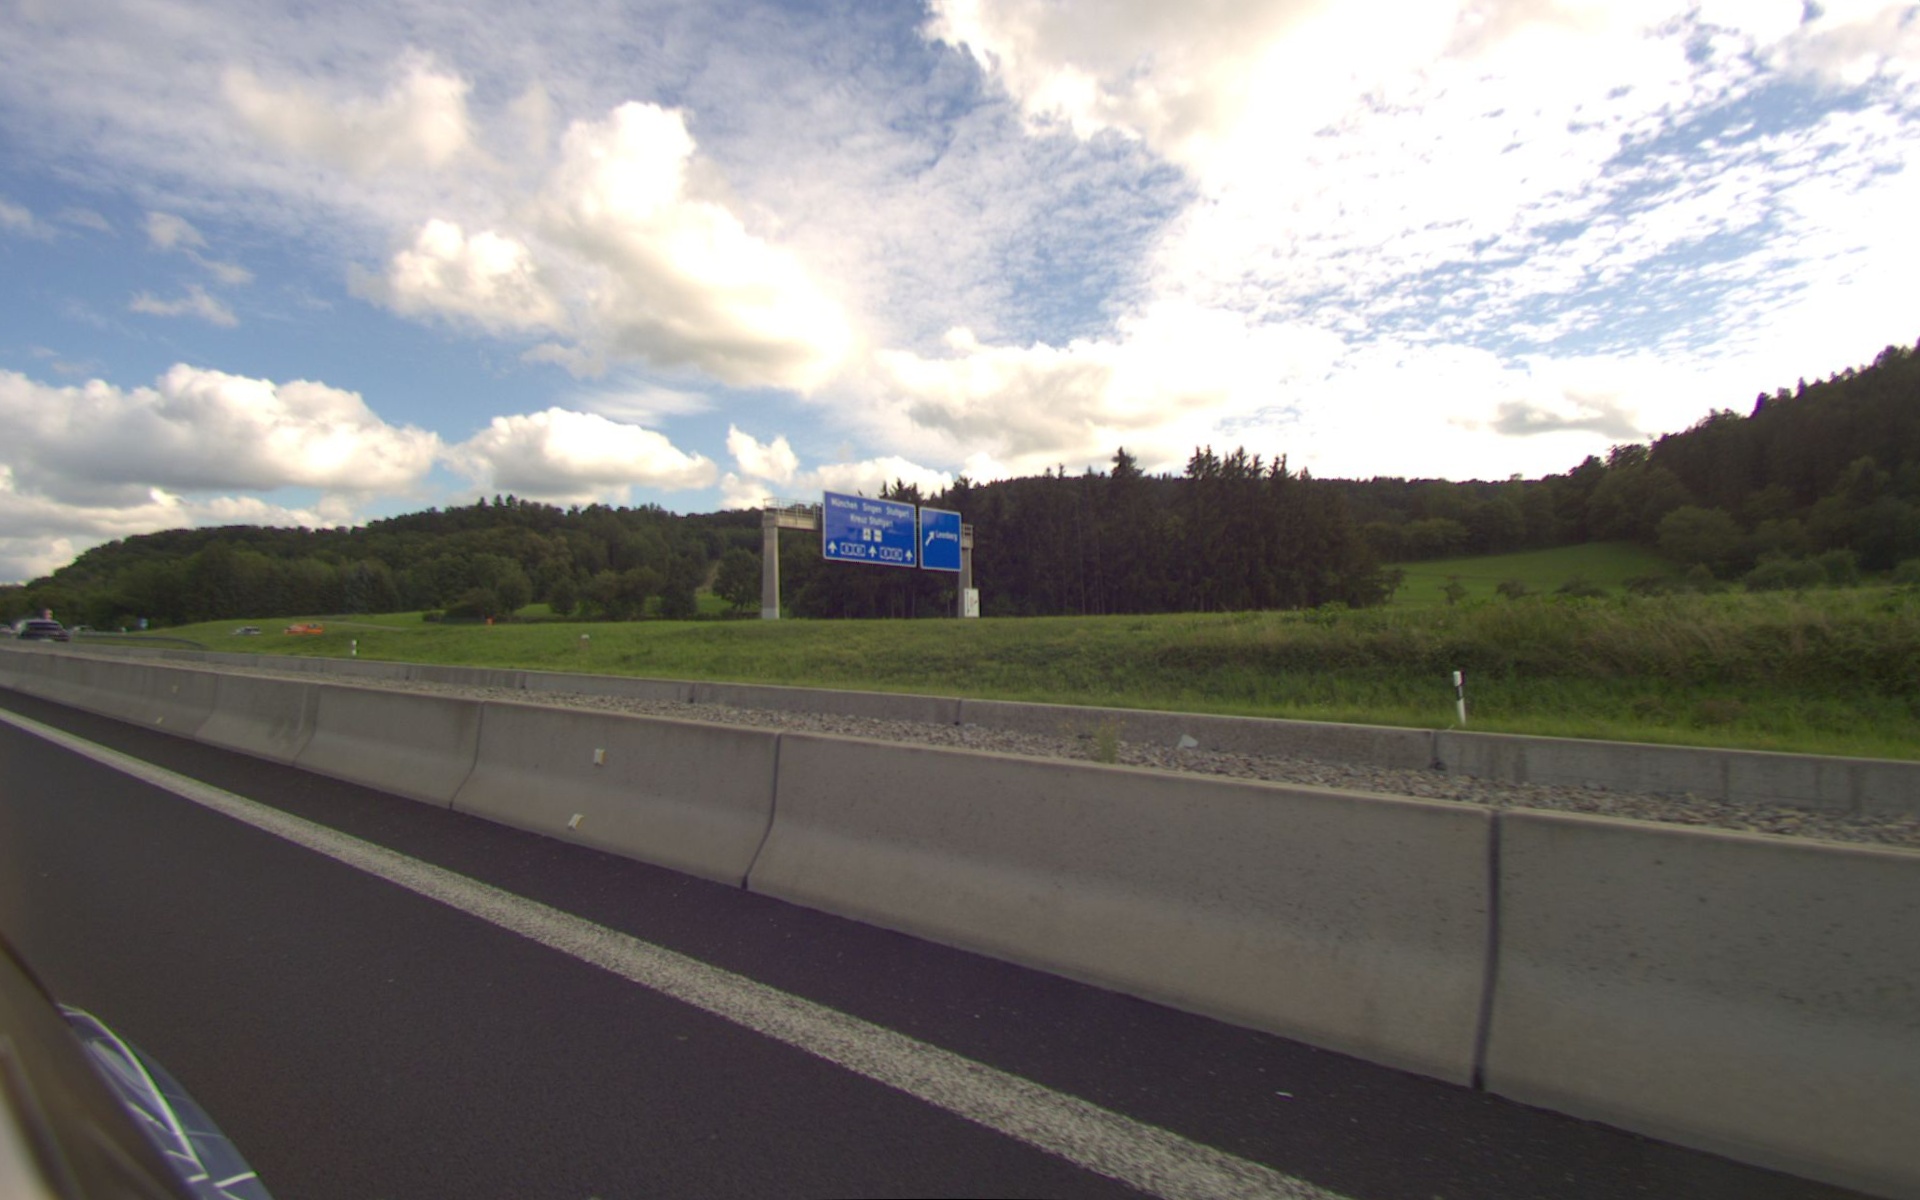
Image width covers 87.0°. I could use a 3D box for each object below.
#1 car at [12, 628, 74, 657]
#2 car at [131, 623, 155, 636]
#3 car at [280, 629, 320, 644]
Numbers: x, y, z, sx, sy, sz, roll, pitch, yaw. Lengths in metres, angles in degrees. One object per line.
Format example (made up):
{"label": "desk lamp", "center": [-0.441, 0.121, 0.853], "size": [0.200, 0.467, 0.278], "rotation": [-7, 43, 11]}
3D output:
{"label": "car", "center": [-47.479, 2.196, 52.370], "size": [4.619, 1.409, 1.769], "rotation": [-1, -3, 40]}
{"label": "car", "center": [-130.829, 4.697, 162.059], "size": [3.993, 2.029, 1.975], "rotation": [-1, -3, 37]}
{"label": "car", "center": [-69.575, 3.851, 106.661], "size": [4.878, 1.560, 1.757], "rotation": [-1, -3, 35]}
